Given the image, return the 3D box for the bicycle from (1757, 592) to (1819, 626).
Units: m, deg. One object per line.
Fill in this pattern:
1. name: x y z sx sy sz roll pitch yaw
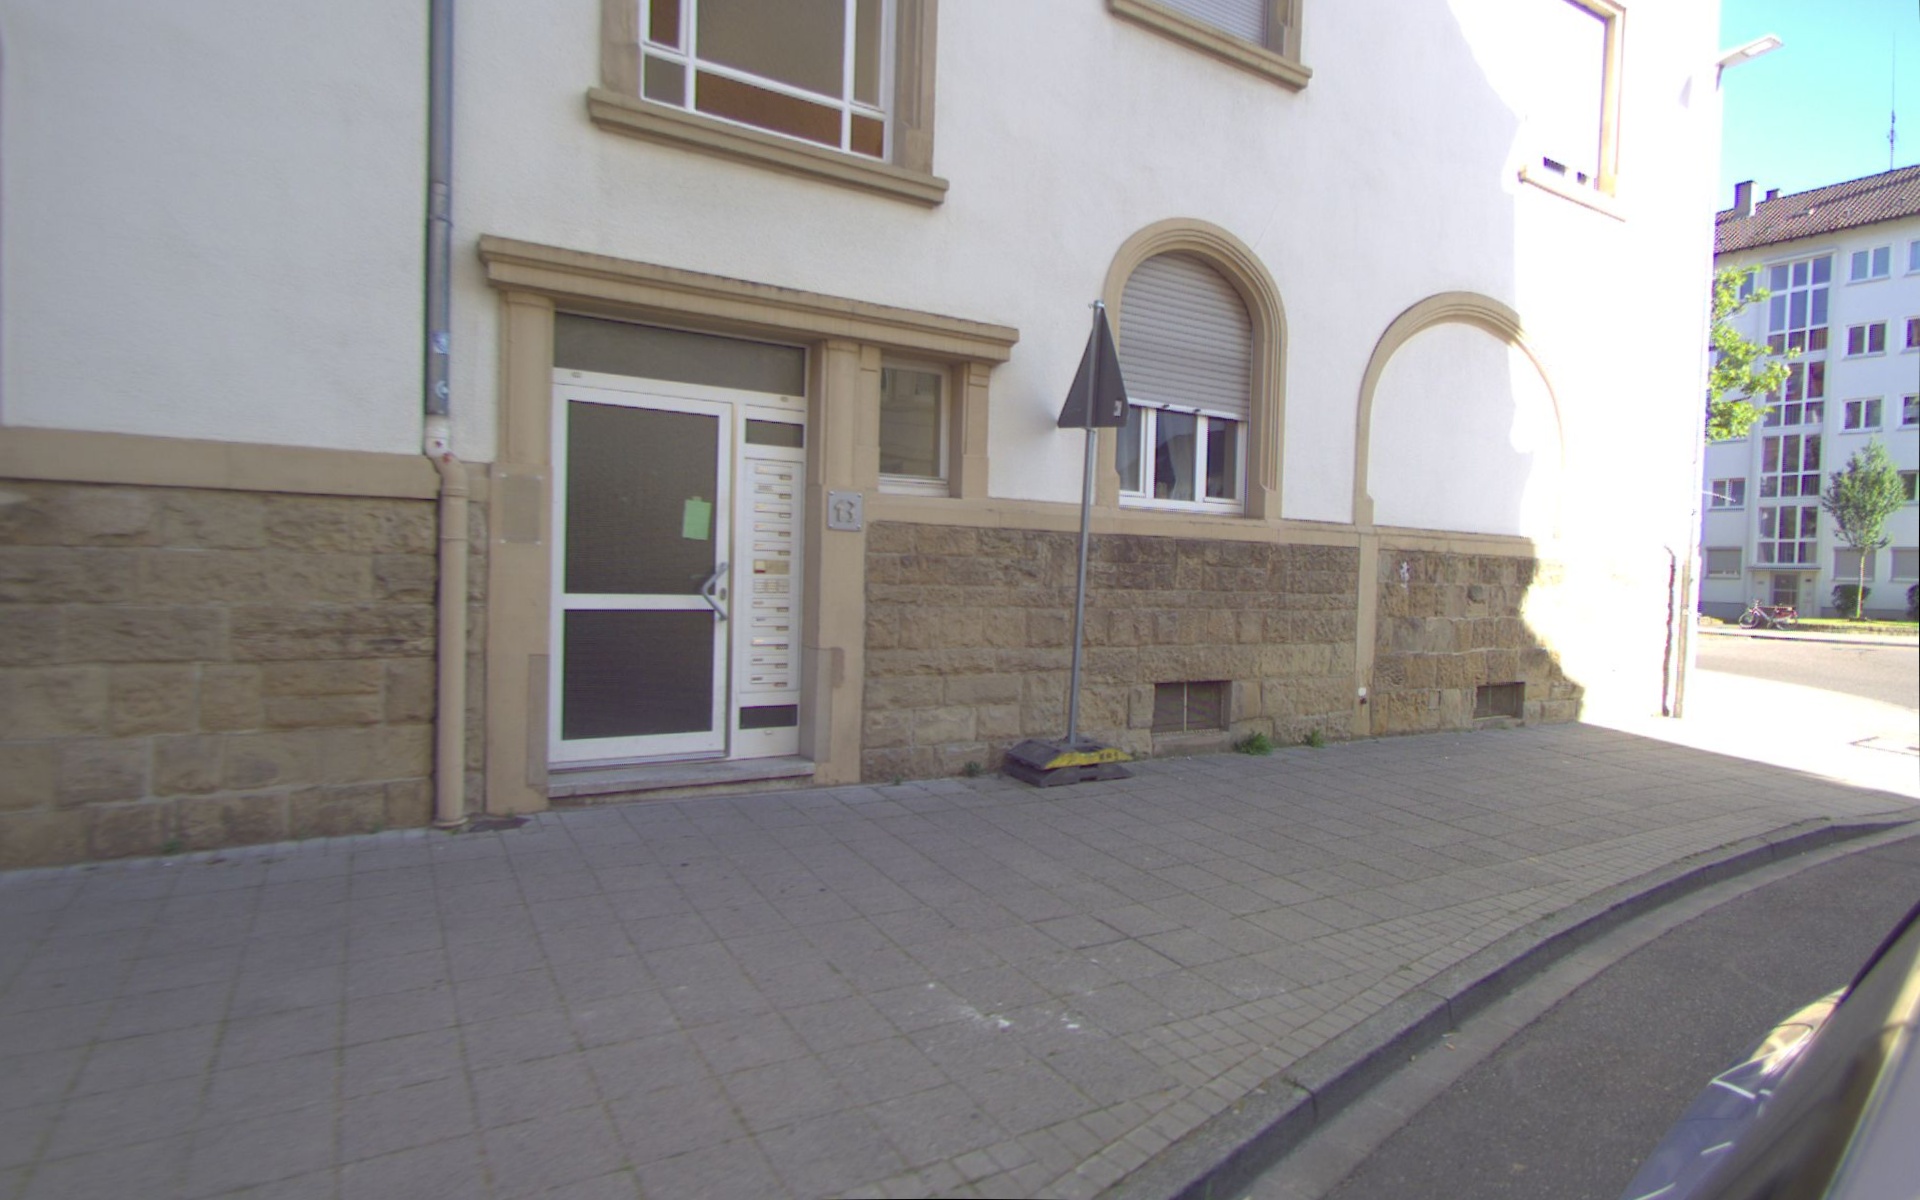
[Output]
1. bicycle: 28.888 0.296 35.324 0.377 1.091 1.624 -3 4 -38
